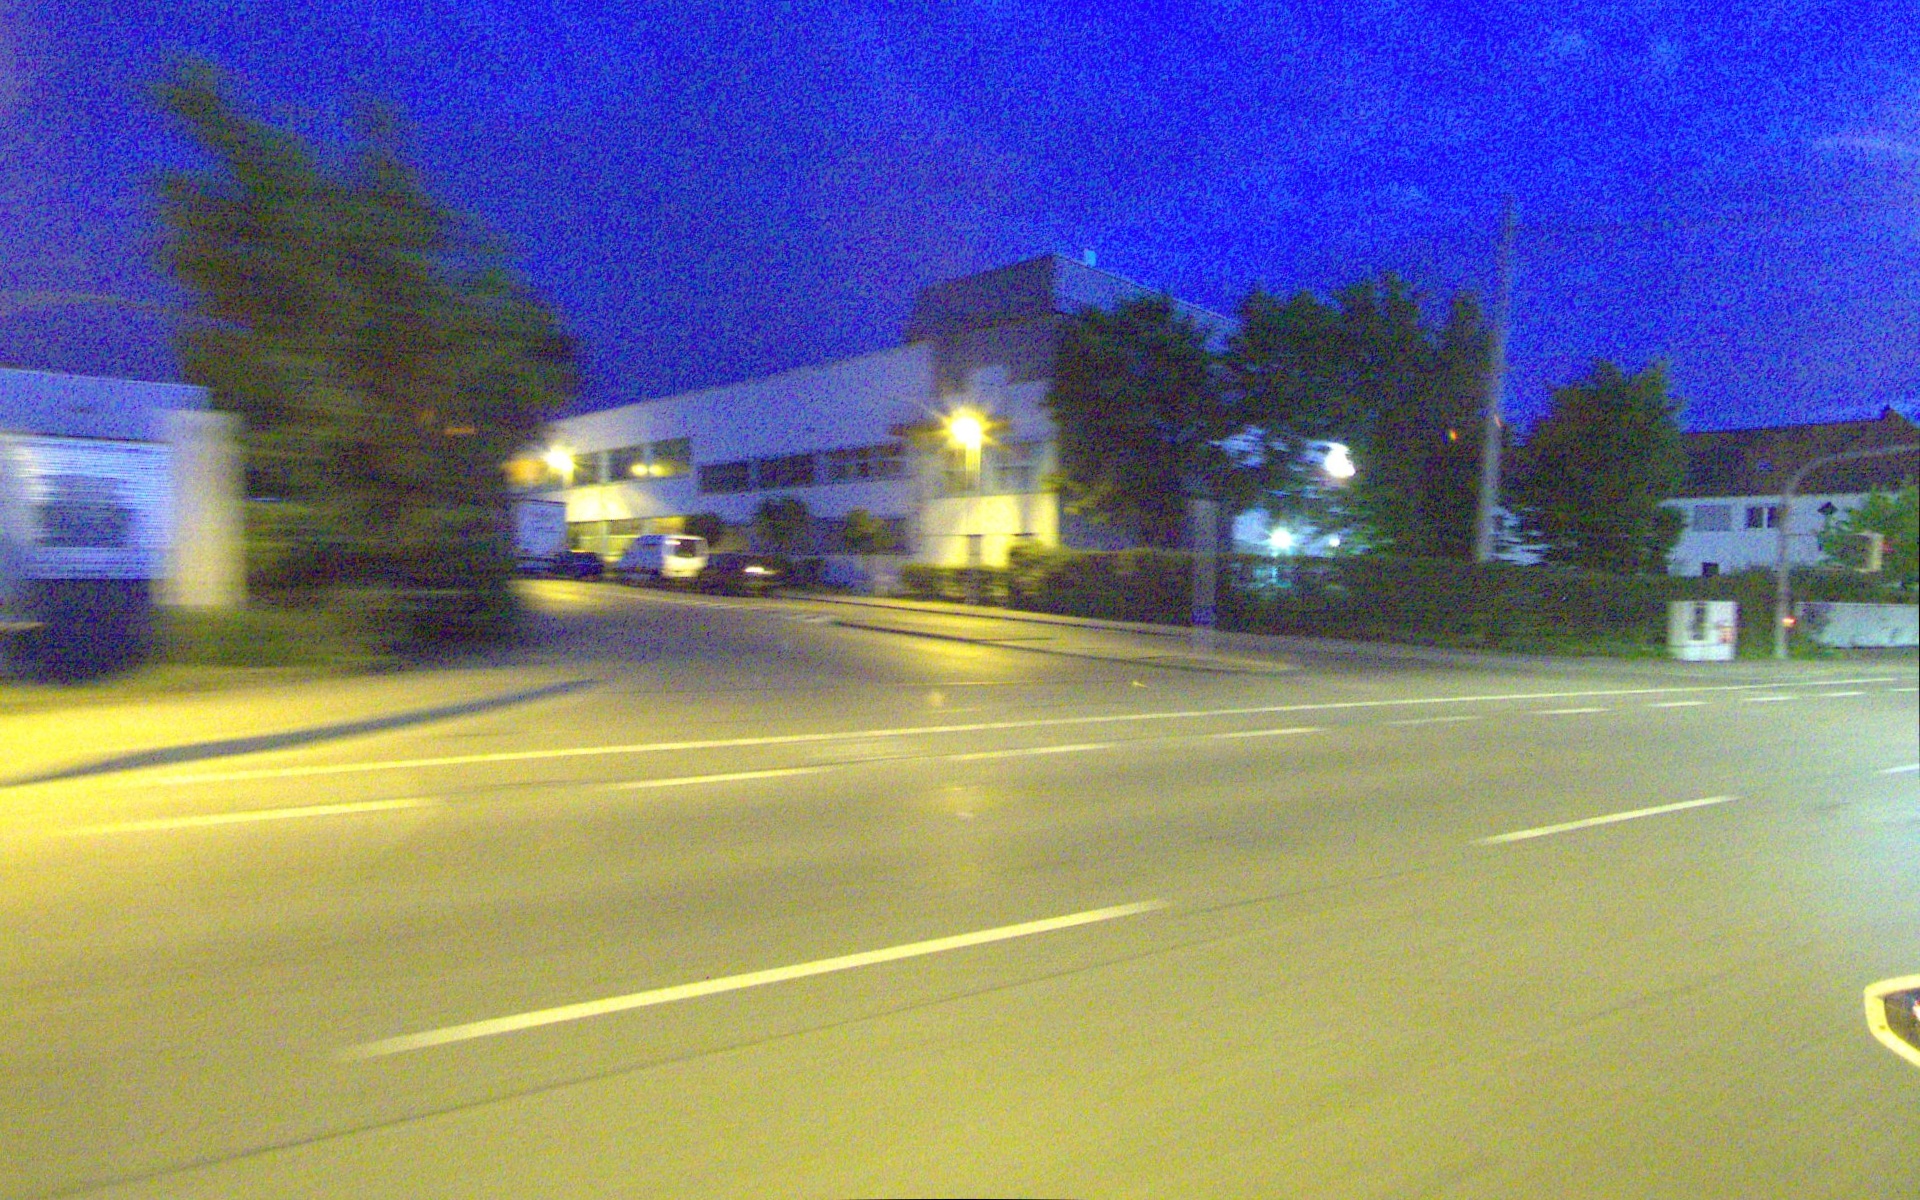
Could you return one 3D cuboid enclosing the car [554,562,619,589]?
[{"bbox_3d":[-18.850,-1.256,50.663,3.521,1.261,1.770,2,1,45],"label":"car"}]

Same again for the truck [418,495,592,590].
[{"bbox_3d":[-27.371,-3.356,59.539,17.163,4.875,3.457,3,2,45],"label":"truck"}]

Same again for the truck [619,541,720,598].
[{"bbox_3d":[-13.165,-1.405,45.322,4.973,2.421,2.150,3,2,44],"label":"truck"}]

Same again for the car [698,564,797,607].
[{"bbox_3d":[-8.649,-0.603,40.650,1.898,1.610,4.291,1,2,-44],"label":"car"}]

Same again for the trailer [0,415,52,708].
[{"bbox_3d":[-9.649,-0.366,8.539,1.977,2.756,4.327,0,0,-30],"label":"trailer"}]

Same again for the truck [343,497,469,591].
[{"bbox_3d":[-25.420,-2.349,45.780,2.854,3.776,9.482,0,0,-43],"label":"truck"}]
